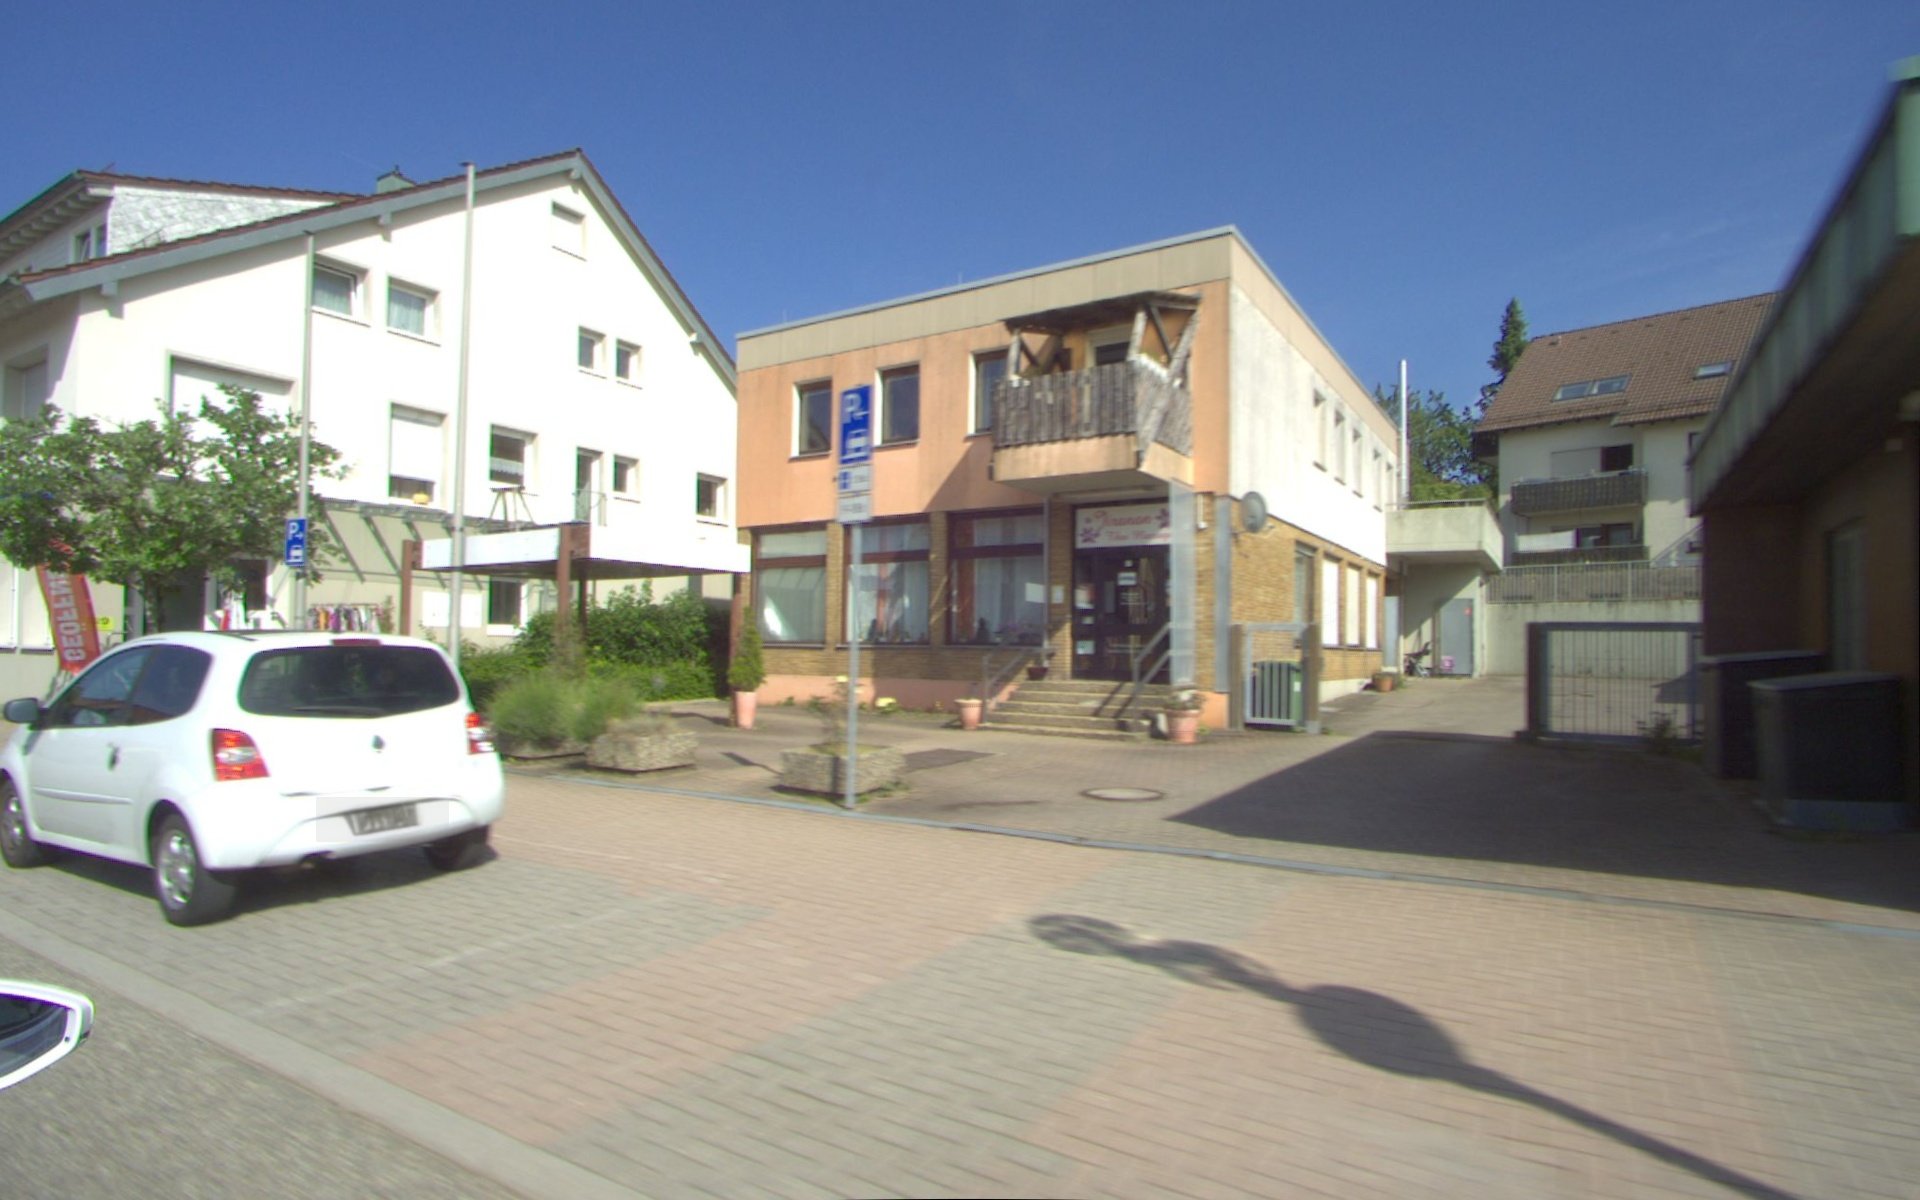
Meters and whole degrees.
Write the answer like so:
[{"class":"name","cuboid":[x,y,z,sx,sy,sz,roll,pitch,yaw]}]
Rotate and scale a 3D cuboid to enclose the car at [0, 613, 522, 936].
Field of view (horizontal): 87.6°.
[{"class":"car","cuboid":[-4.586,0.827,6.310,3.585,1.442,1.755,-1,0,35]}]
